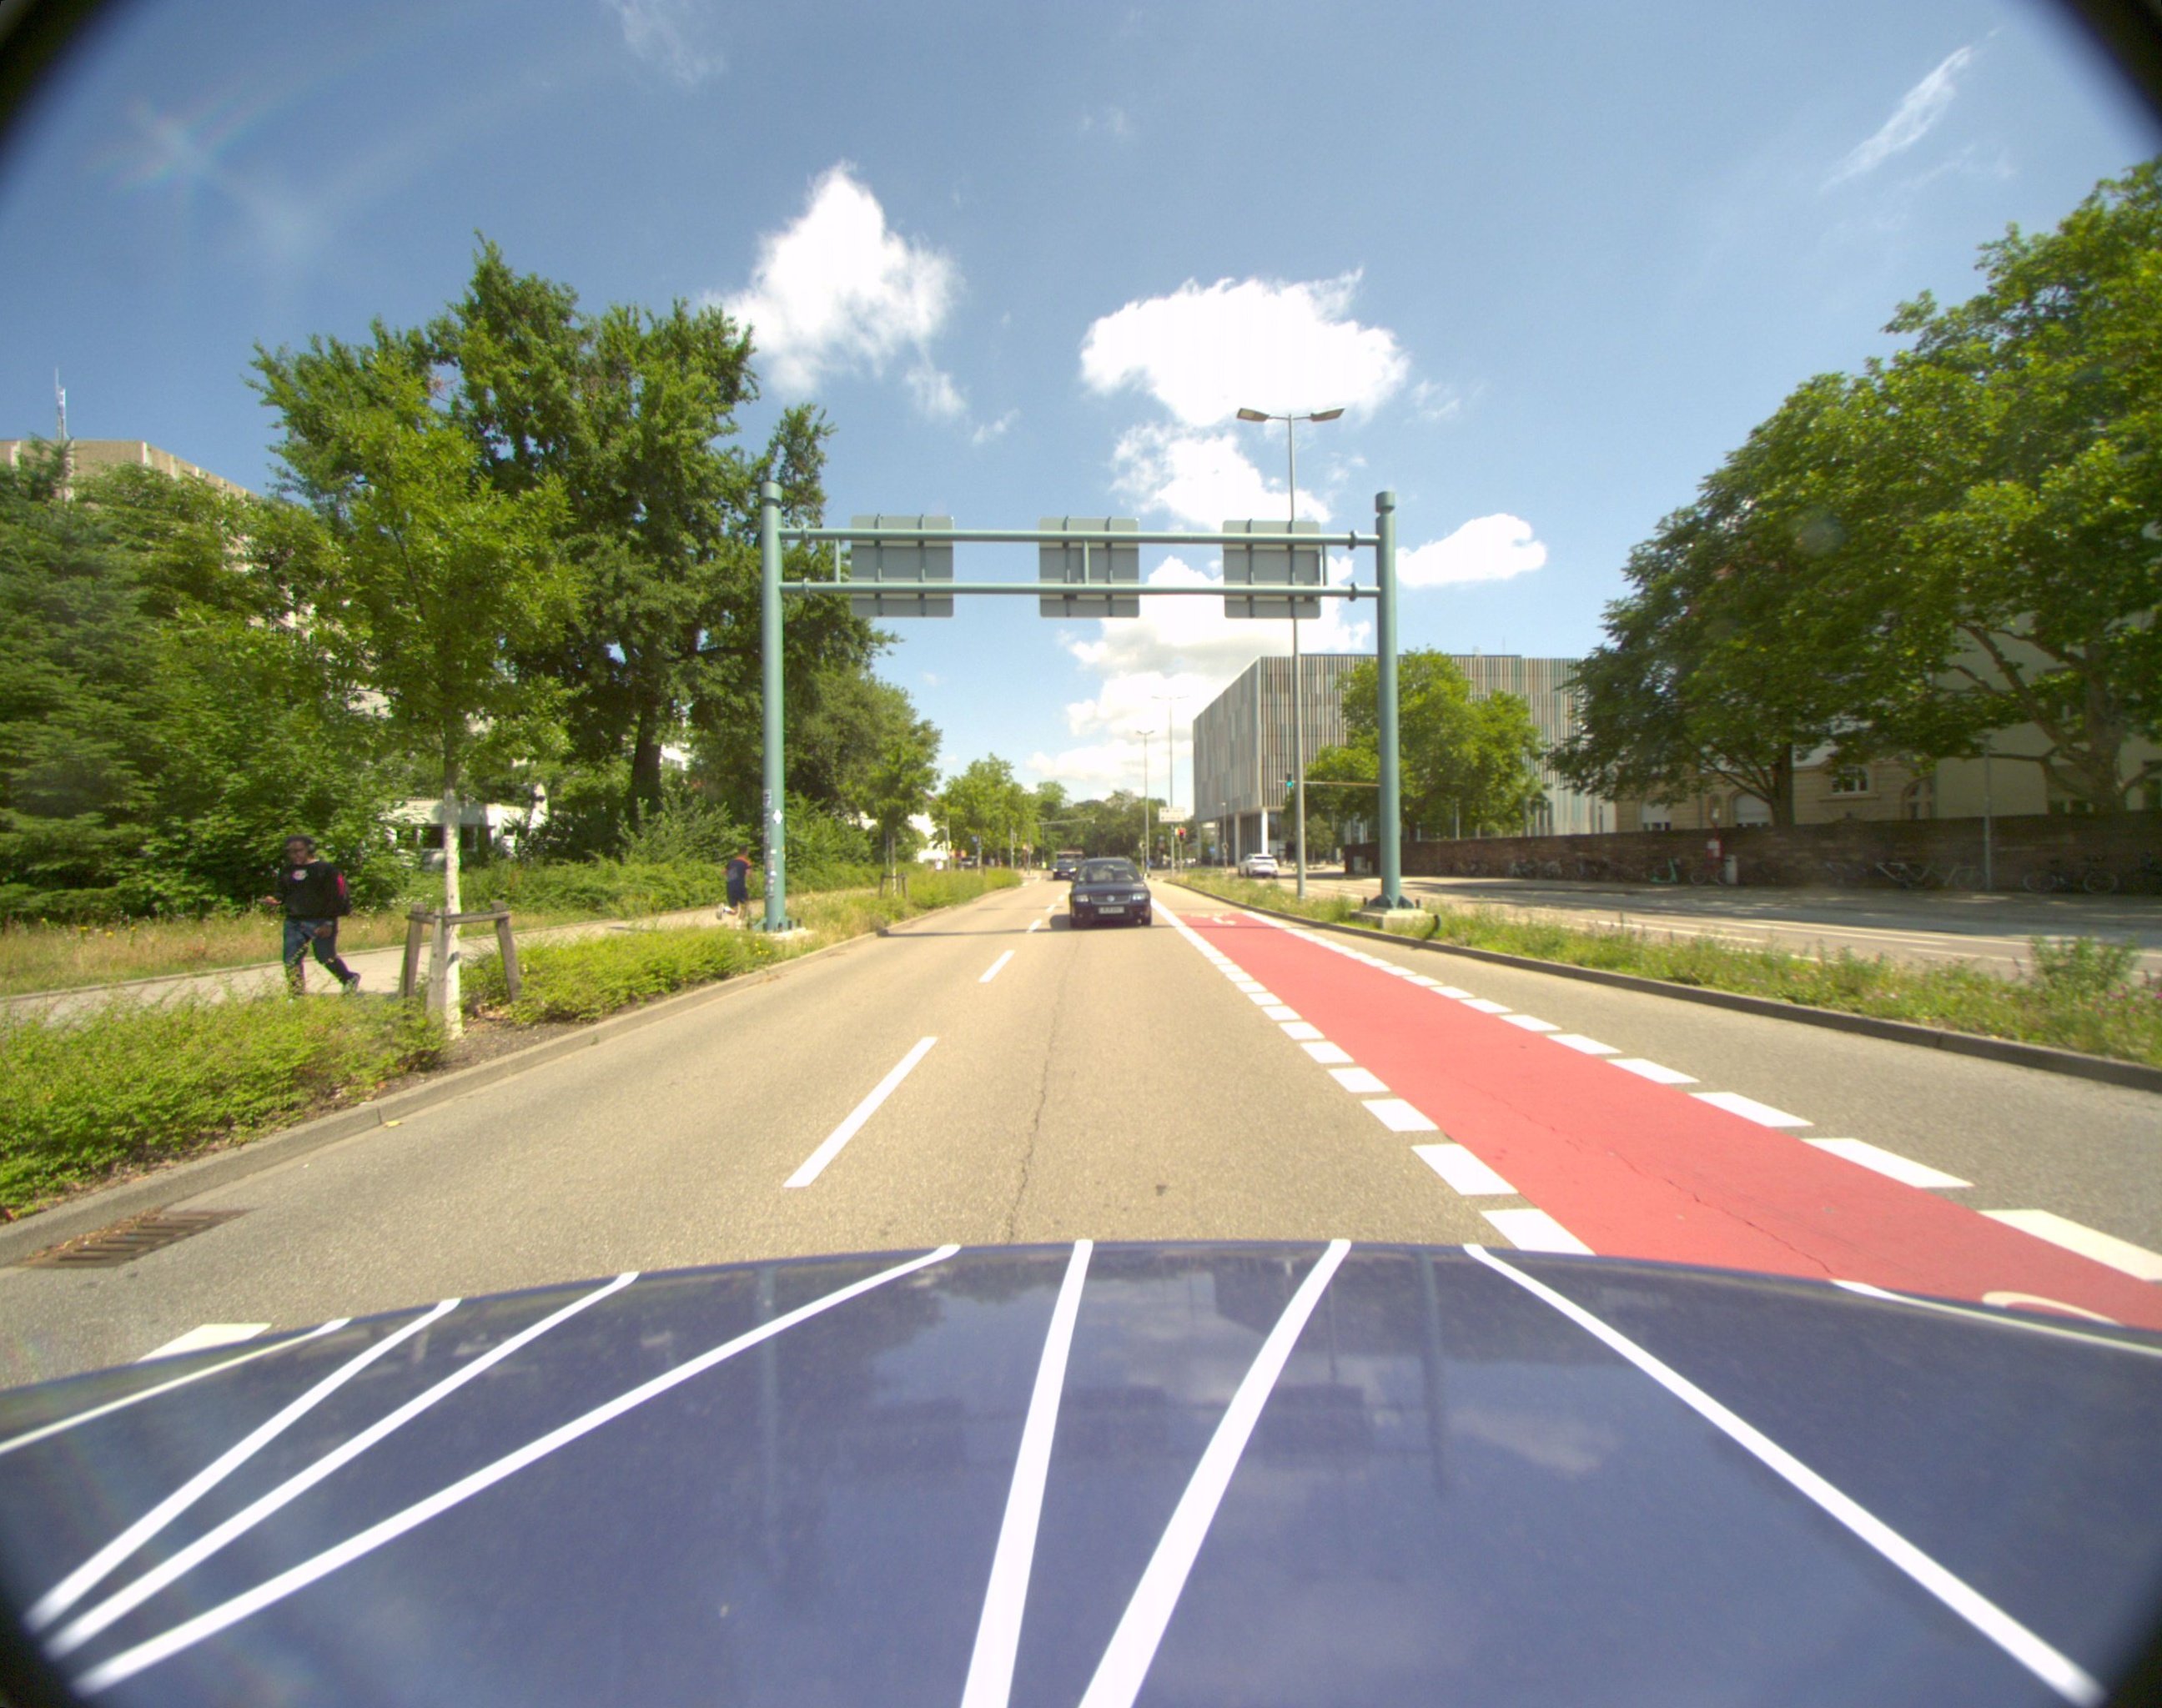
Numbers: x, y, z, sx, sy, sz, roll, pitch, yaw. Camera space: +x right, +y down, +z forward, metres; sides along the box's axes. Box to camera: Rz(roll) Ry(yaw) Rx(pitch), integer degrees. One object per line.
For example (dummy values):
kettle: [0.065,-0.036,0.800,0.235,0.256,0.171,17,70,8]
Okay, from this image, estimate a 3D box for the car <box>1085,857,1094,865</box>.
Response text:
car: [1.787,1.402,160.159,1.723,1.545,4.594,-3,0,1]

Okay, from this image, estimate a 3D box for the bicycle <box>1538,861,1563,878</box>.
bicycle: [23.187,0.751,37.543,0.265,0.826,1.234,-1,0,-11]

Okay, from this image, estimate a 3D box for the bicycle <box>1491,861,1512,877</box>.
bicycle: [23.155,0.820,41.820,0.265,0.826,1.234,-1,0,-11]

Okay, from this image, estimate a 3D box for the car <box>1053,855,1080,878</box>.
car: [-1.086,0.953,58.614,1.816,1.598,4.479,-3,0,1]

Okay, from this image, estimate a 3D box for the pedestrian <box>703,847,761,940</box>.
pedestrian: [-6.753,0.749,14.730,0.639,1.754,0.887,-1,0,7]

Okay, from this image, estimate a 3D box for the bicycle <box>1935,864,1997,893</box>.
bicycle: [26.244,0.722,22.546,0.265,0.826,1.235,-1,0,-11]

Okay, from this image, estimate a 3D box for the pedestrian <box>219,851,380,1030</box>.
pedestrian: [-7.772,0.815,7.585,0.760,1.674,0.817,-1,0,12]

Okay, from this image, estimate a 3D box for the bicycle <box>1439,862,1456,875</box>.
bicycle: [22.492,0.877,46.666,0.265,0.826,1.235,-1,0,-11]

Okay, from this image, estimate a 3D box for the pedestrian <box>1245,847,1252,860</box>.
pedestrian: [26.953,-0.101,122.408,0.864,2.002,0.995,-1,0,0]

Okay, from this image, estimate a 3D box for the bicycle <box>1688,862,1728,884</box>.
bicycle: [24.820,0.741,30.097,0.265,0.826,1.233,-1,0,-21]

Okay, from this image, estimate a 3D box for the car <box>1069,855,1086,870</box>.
car: [-0.347,0.947,84.399,1.816,1.598,4.479,-3,0,1]

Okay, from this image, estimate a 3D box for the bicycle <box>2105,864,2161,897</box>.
bicycle: [27.129,0.662,19.363,0.265,0.826,1.234,-1,0,-13]

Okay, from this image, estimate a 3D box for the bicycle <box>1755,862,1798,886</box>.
bicycle: [25.190,0.708,27.537,0.265,0.826,1.235,-1,0,-11]

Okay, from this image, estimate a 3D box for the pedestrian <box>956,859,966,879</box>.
pedestrian: [-9.891,1.245,62.623,0.767,1.601,0.765,-1,0,-4]

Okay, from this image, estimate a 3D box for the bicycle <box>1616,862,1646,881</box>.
bicycle: [24.149,0.772,33.387,0.265,0.826,1.235,-1,0,-11]

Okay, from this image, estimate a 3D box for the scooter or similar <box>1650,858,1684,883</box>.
scooter or similar: [24.576,0.685,31.867,0.266,1.014,1.140,-1,0,-22]

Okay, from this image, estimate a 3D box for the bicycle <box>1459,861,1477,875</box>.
bicycle: [22.809,0.833,44.771,0.265,0.826,1.235,-1,0,-11]

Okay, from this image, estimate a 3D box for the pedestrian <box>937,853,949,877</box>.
pedestrian: [-11.645,0.918,64.055,0.847,2.026,0.900,-1,0,-23]

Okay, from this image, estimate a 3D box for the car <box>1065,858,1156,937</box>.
car: [0.604,0.872,17.222,1.723,1.472,4.594,-3,0,1]

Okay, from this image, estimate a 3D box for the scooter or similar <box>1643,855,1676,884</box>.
scooter or similar: [23.810,0.623,31.284,0.265,1.182,1.234,-1,0,-11]

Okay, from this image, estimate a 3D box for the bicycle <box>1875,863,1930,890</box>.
bicycle: [25.987,0.701,24.057,0.265,0.826,1.235,-1,0,-11]

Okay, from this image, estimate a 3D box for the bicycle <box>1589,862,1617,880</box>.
bicycle: [24.039,0.785,34.985,0.265,0.826,1.235,-1,0,-11]

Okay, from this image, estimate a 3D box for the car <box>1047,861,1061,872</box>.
car: [-4.325,1.957,122.150,1.816,1.598,4.479,-3,0,1]

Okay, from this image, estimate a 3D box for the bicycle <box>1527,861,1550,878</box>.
bicycle: [23.470,0.789,39.014,0.265,0.826,1.235,-1,0,-11]

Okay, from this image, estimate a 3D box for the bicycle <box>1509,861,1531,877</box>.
bicycle: [23.361,0.792,40.425,0.265,0.826,1.234,-1,0,-11]

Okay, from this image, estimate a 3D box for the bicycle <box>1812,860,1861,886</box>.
bicycle: [25.701,0.636,25.871,0.265,0.826,1.235,-1,0,-11]

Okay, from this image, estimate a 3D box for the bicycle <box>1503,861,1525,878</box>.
bicycle: [22.854,0.812,40.101,0.265,0.826,1.234,-1,0,-11]

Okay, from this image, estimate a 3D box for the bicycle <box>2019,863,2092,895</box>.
bicycle: [26.641,0.669,20.790,0.265,0.826,1.234,-1,0,-13]

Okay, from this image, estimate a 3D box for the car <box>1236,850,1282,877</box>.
car: [11.793,0.607,50.632,1.999,1.701,4.512,-1,0,-1]

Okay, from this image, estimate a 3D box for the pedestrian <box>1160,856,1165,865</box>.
pedestrian: [15.846,1.255,148.036,0.864,1.647,0.995,-1,0,-1]

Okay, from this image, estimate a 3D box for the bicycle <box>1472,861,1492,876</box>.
bicycle: [22.929,0.816,43.447,0.265,0.826,1.234,-1,0,-11]

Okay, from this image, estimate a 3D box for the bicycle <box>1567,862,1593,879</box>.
bicycle: [23.782,0.782,36.246,0.265,0.826,1.235,-1,0,-11]

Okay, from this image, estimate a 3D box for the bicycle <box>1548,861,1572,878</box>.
bicycle: [23.655,0.751,37.536,0.265,0.826,1.235,-1,0,-11]

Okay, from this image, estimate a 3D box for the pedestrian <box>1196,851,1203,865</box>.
pedestrian: [17.805,0.567,114.066,0.864,2.002,0.995,-1,0,-1]
